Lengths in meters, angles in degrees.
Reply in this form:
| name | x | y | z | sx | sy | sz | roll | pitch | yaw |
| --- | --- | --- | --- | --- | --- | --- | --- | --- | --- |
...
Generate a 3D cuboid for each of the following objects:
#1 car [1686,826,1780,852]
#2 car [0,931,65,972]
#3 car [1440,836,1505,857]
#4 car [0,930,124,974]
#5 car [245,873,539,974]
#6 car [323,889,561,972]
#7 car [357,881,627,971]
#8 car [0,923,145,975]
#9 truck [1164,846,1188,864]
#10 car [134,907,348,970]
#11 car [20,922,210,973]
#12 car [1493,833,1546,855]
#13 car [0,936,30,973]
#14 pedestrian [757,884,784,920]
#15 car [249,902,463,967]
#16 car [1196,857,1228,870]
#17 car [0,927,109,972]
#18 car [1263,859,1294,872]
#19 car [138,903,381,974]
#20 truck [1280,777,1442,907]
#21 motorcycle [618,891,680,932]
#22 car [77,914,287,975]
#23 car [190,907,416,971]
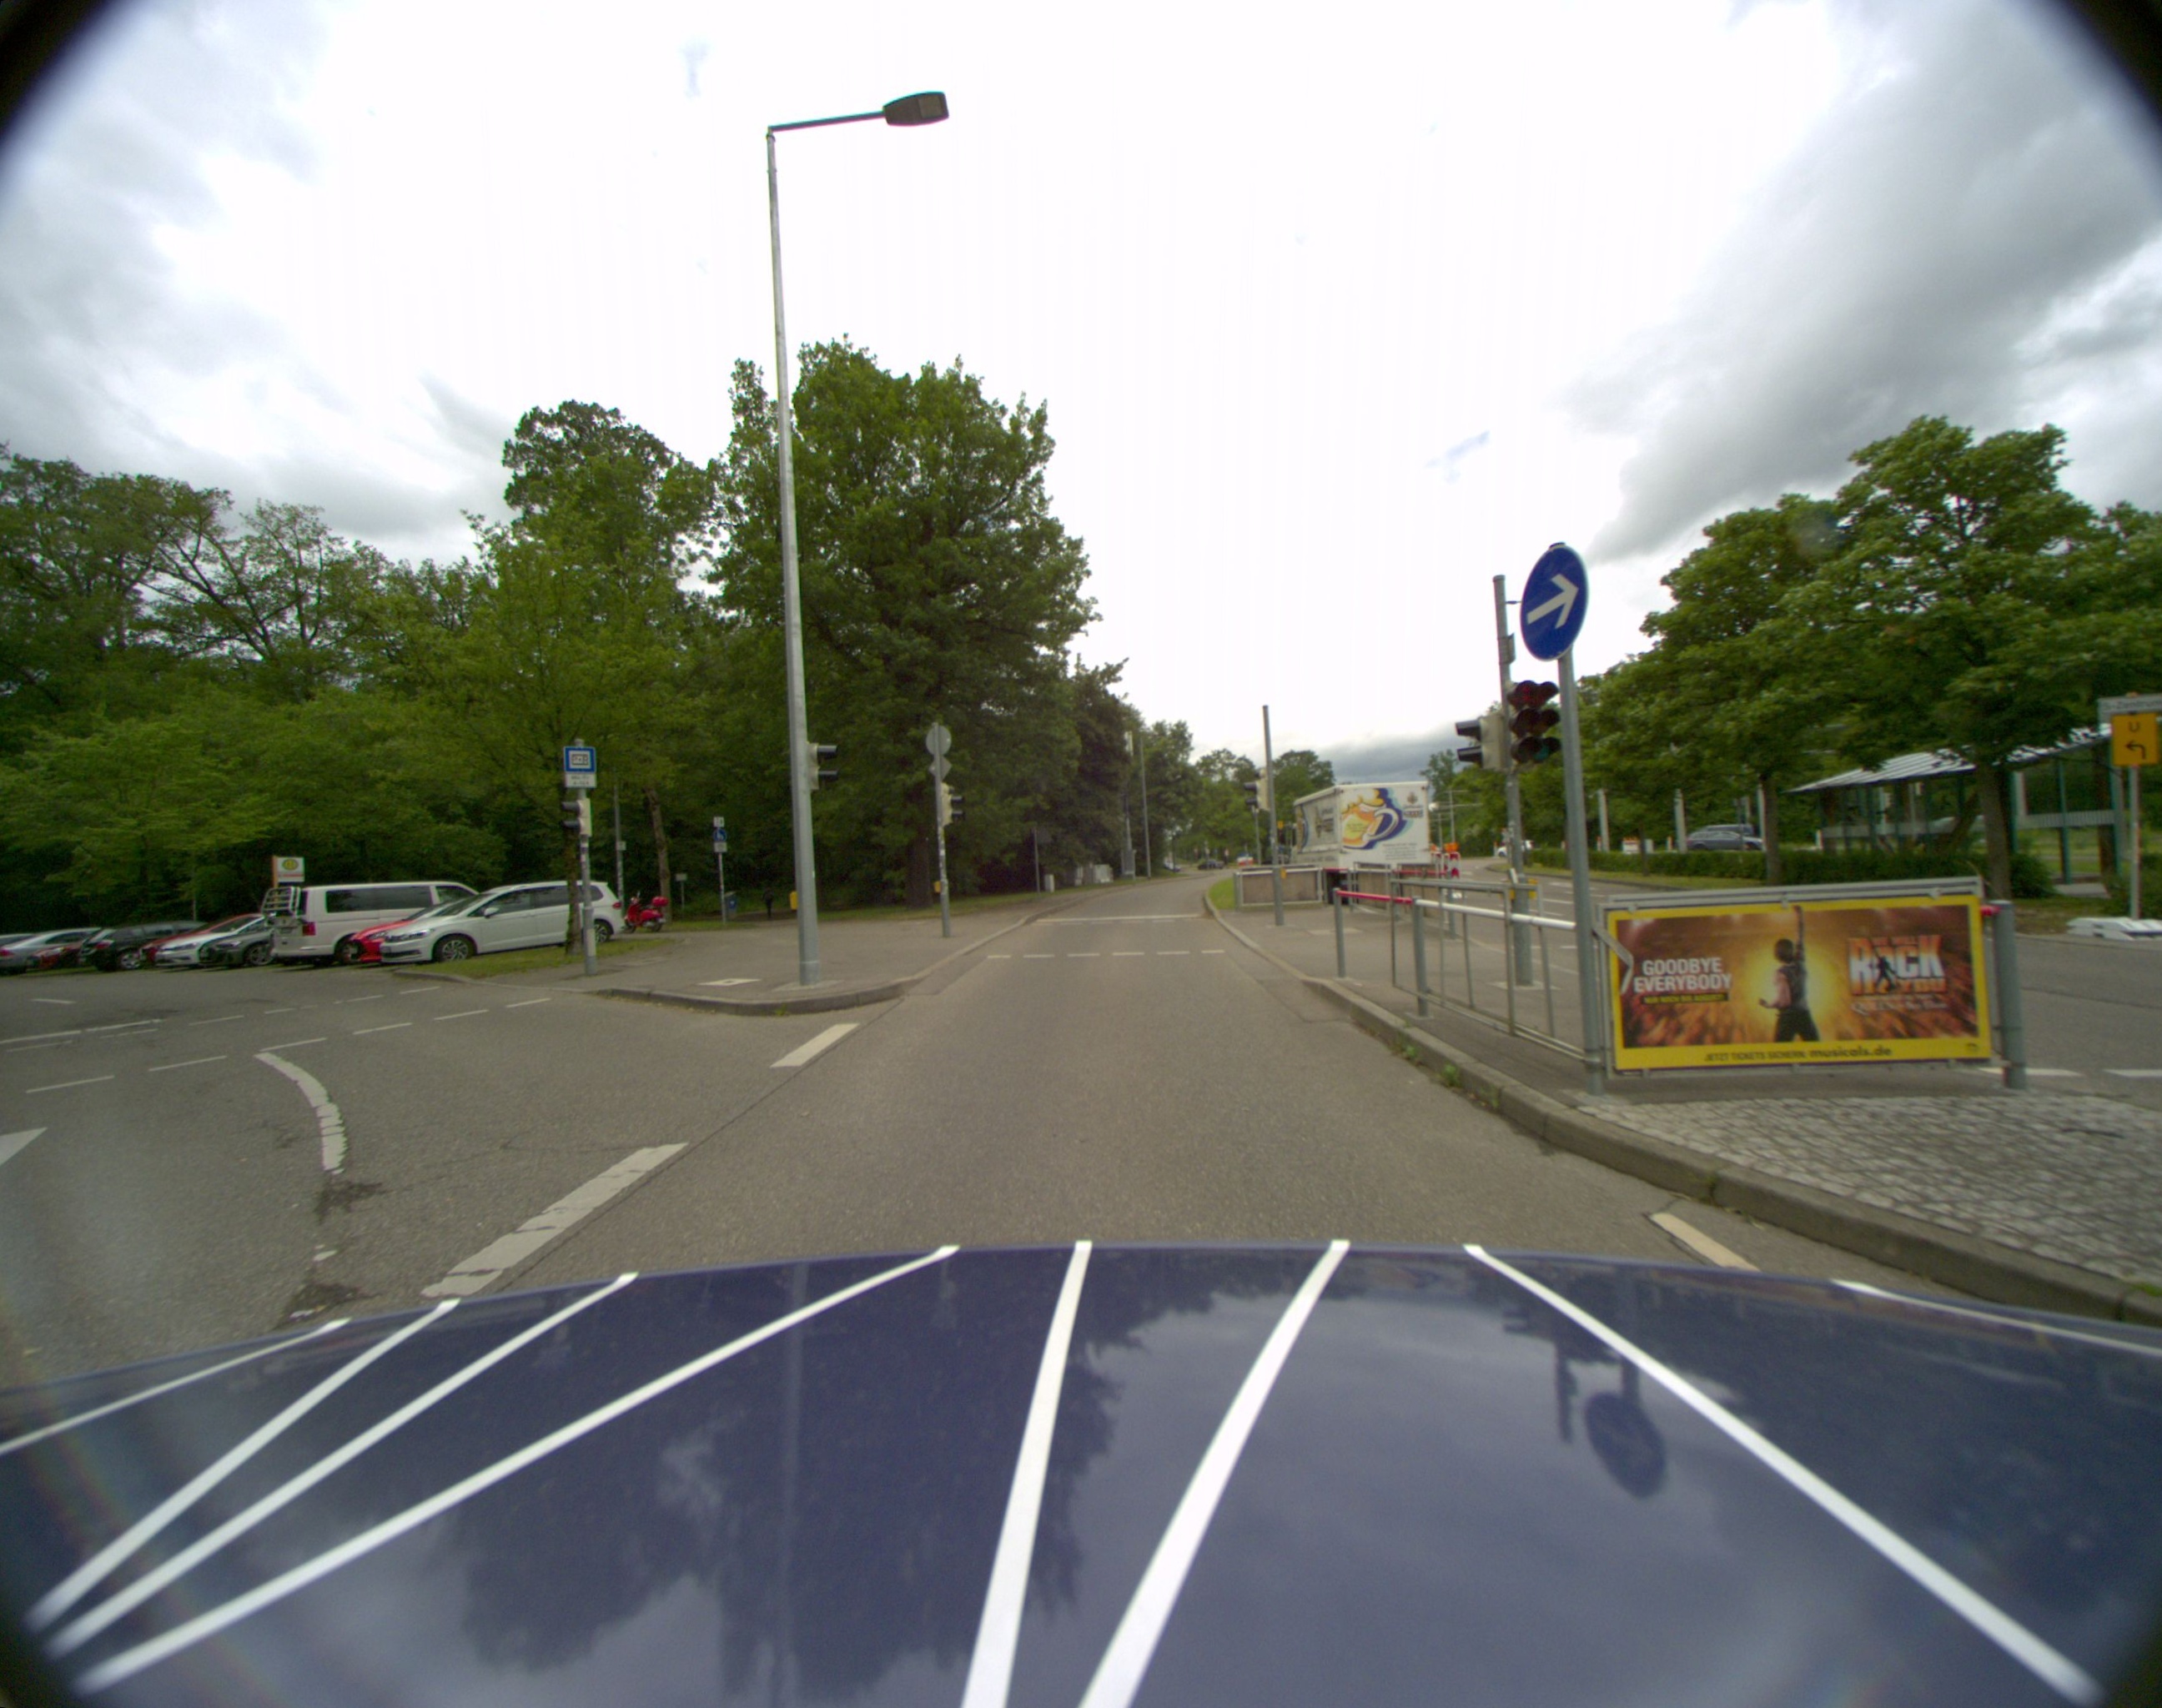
| name | x | y | z | sx | sy | sz | roll | pitch | yaw |
| --- | --- | --- | --- | --- | --- | --- | --- | --- | --- |
| car | 43.706 | -0.986 | 51.047 | 1.799 | 1.428 | 4.382 | -4 | -1 | -30 |
| car | -43.061 | 3.955 | 29.597 | 1.754 | 1.419 | 3.777 | -4 | -1 | 21 |
| car | 35.060 | -0.657 | 68.128 | 1.960 | 1.578 | 4.901 | -4 | -1 | -26 |
| car | -38.686 | 3.657 | 28.402 | 1.515 | 1.254 | 3.287 | -4 | -1 | 21 |
| car | -17.759 | 1.704 | 19.970 | 2.058 | 1.946 | 5.190 | -4 | 1 | 27 |
| car | -15.524 | 1.807 | 18.688 | 1.890 | 1.542 | 4.007 | -4 | -1 | 31 |
| car | -13.300 | 1.559 | 17.456 | 1.995 | 1.542 | 4.429 | -5 | -1 | 34 |
| car | -36.464 | 3.373 | 27.240 | 1.515 | 1.421 | 3.287 | -4 | -1 | 21 |
| truck | 18.309 | 0.182 | 145.915 | 2.742 | 3.192 | 6.682 | -4 | -1 | 20 |
| car | -26.677 | 2.649 | 24.316 | 1.815 | 1.486 | 4.207 | -4 | -1 | 27 |
| car | -33.812 | 3.241 | 26.746 | 1.616 | 1.258 | 3.780 | -4 | -1 | 21 |
| car | 41.144 | -0.917 | 71.402 | 1.861 | 1.712 | 3.785 | -4 | -1 | -29 |
| car | -45.607 | 4.235 | 30.393 | 1.754 | 1.419 | 3.777 | -4 | -1 | 21 |
| pedestrian | -14.872 | 2.273 | 36.391 | 0.833 | 1.641 | 1.035 | -4 | 0 | -7 |
| car | -20.165 | 2.196 | 21.343 | 1.717 | 1.320 | 3.942 | -4 | -1 | 25 |
| car | 18.890 | 1.417 | 109.986 | 1.884 | 1.586 | 4.441 | -4 | -1 | -35 |
| car | -40.575 | 3.725 | 29.320 | 1.518 | 1.432 | 3.389 | -4 | -1 | 19 |
| car | 25.412 | 1.491 | 97.910 | 1.665 | 1.330 | 3.834 | -9 | 2 | -28 |
| car | -24.469 | 2.466 | 22.881 | 1.839 | 1.548 | 4.539 | -4 | -1 | 24 |
| truck | 7.881 | -0.309 | 22.256 | 2.635 | 3.219 | 6.207 | -1 | 0 | 3 |
| motorcycle | -13.833 | 1.846 | 24.322 | 1.953 | 1.197 | 0.591 | -4 | 0 | 23 |
| car | -29.183 | 2.886 | 24.833 | 1.760 | 1.448 | 4.075 | -4 | -1 | 27 |
| car | -22.224 | 2.390 | 21.903 | 1.815 | 1.317 | 4.136 | -4 | -1 | 27 |
